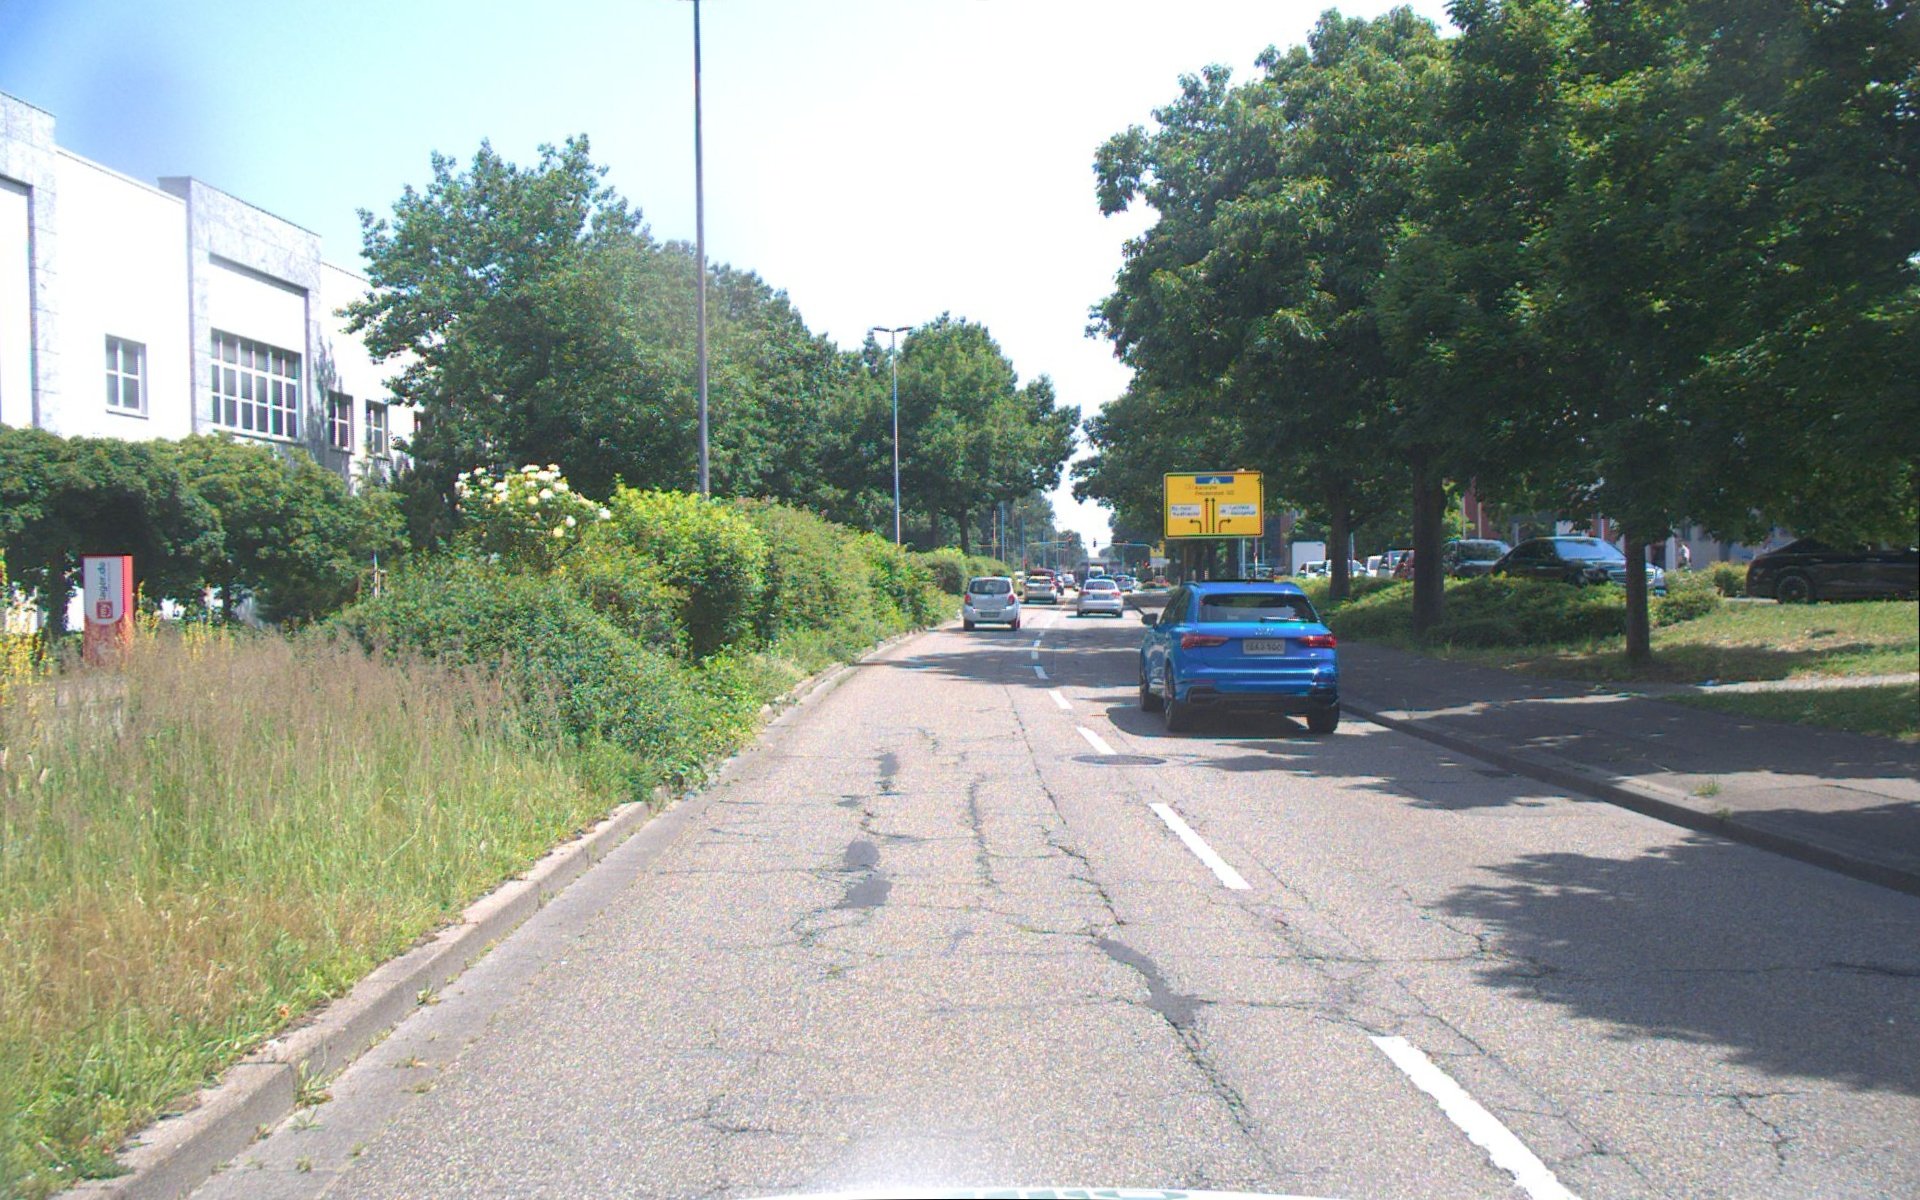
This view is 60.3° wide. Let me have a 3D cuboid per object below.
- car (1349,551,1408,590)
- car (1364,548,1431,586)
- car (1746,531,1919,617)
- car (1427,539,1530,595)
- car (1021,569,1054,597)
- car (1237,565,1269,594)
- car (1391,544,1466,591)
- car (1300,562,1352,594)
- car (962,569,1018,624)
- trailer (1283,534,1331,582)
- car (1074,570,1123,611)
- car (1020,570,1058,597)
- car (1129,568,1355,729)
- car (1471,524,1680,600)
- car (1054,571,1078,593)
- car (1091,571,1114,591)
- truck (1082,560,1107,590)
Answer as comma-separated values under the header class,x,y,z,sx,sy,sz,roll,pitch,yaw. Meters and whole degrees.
class,x,y,z,sx,sy,sz,roll,pitch,yaw
car,14.461,-1.011,57.306,1.584,1.275,3.869,0,0,8
car,13.731,-1.024,52.035,1.476,1.142,2.857,0,0,3
car,15.917,-0.445,27.719,1.928,1.375,4.663,-2,0,-32
car,13.055,-0.803,41.886,1.585,1.275,4.201,2,0,5
car,4.730,-1.027,100.345,1.845,1.636,4.002,-2,0,4
car,17.722,-1.244,100.088,1.664,1.666,3.908,0,0,6
car,13.502,-0.912,47.800,1.584,1.275,3.766,0,0,8
car,15.433,-0.923,69.891,1.585,1.275,3.632,0,0,3
car,0.870,-0.084,48.895,1.605,1.579,3.325,0,0,1
trailer,15.759,-1.864,75.285,1.664,2.091,5.488,0,1,7
car,5.273,-0.337,63.281,1.826,1.499,4.002,0,0,4
car,4.215,-0.837,87.434,1.845,1.378,4.002,0,0,5
car,3.076,0.497,18.882,1.772,1.620,4.348,0,0,-1
car,13.022,-0.743,35.448,1.869,1.476,5.593,0,0,-7
car,7.284,-1.215,113.759,1.457,1.416,3.307,0,0,-1
car,10.706,-1.402,124.507,1.412,1.372,3.459,-2,0,-1
truck,16.625,-3.014,204.268,2.870,3.563,9.163,-1,0,5
